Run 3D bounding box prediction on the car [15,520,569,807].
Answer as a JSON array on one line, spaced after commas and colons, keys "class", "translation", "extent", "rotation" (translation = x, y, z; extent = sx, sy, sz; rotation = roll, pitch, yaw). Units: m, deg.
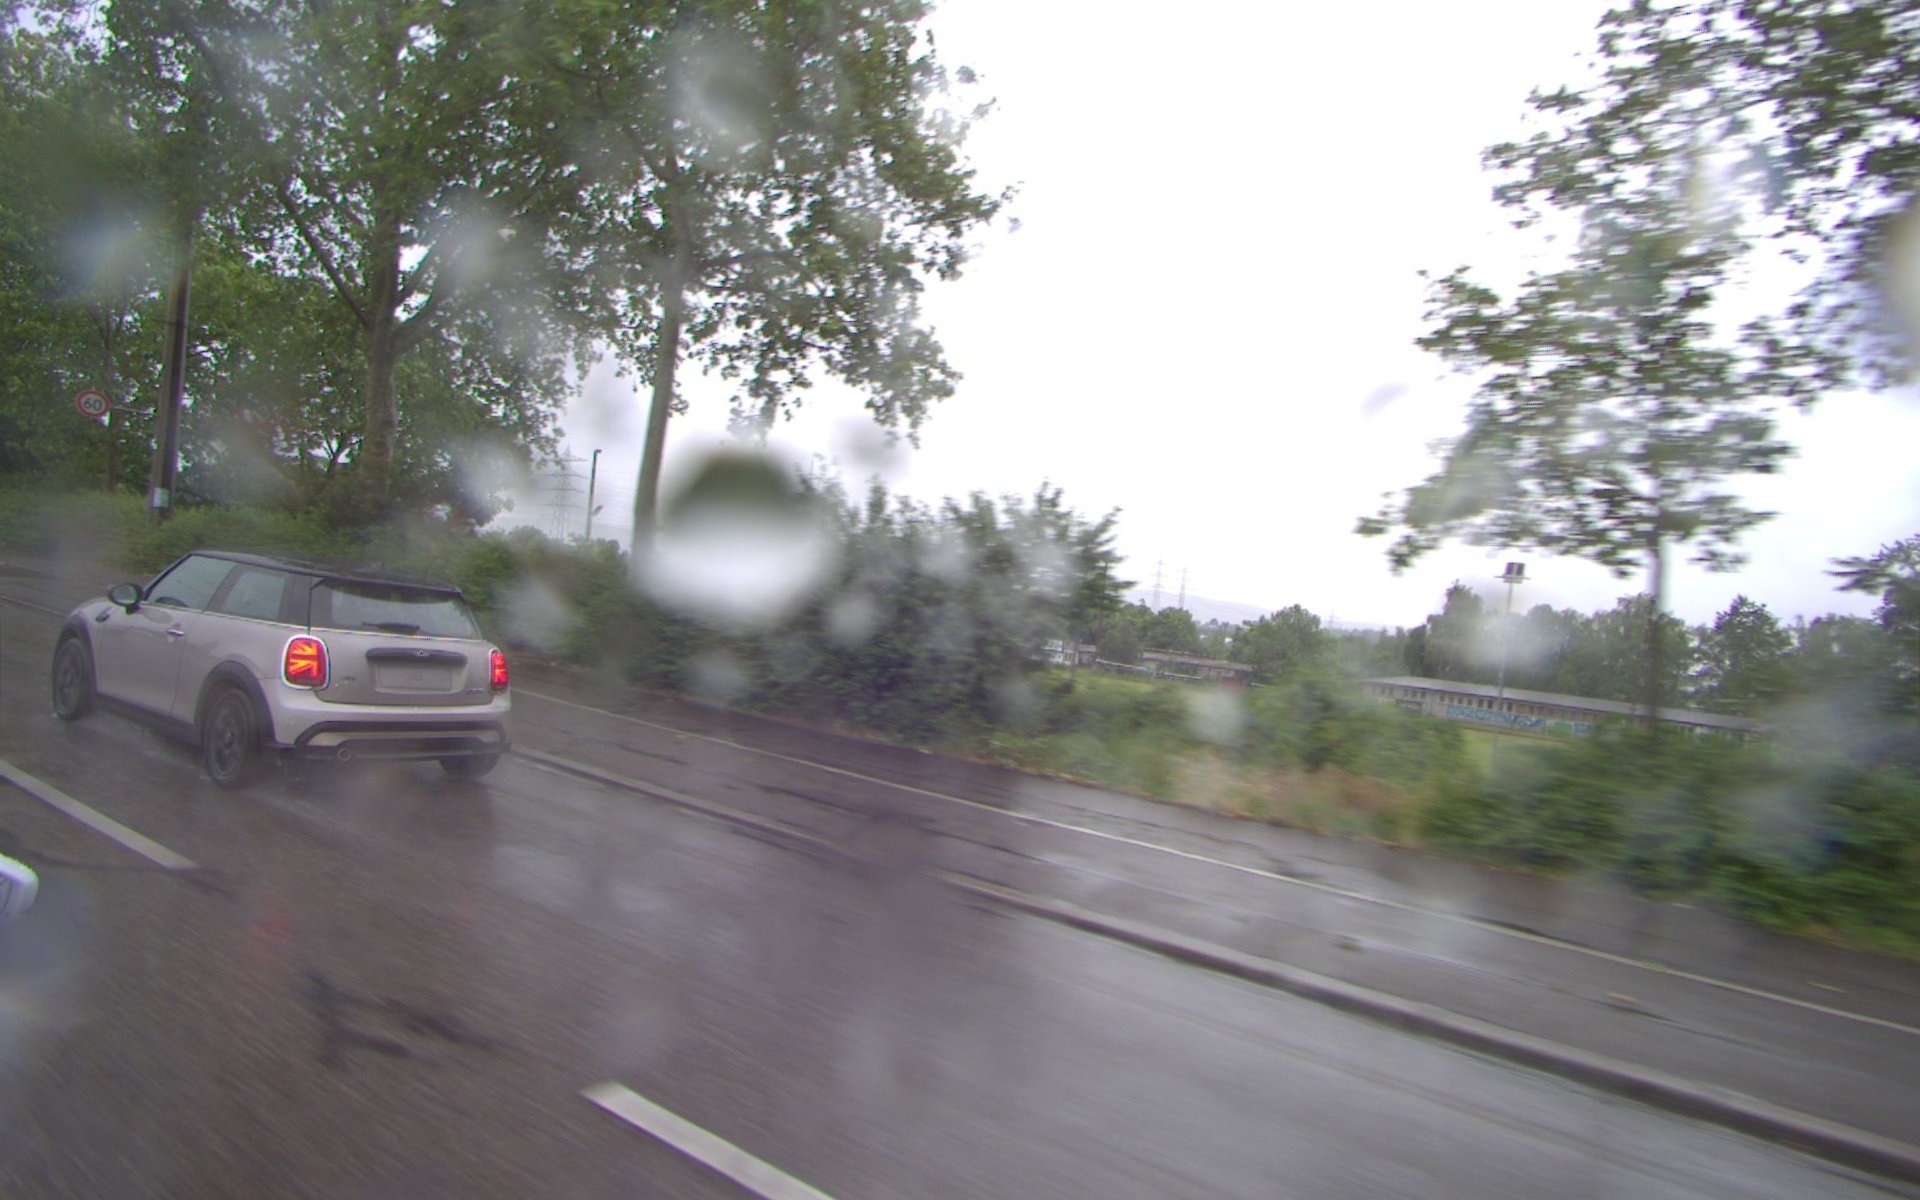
[{"class": "car", "translation": [-4.925, 0.377, 7.335], "extent": [3.790, 1.429, 1.796], "rotation": [6, -3, 31]}]
